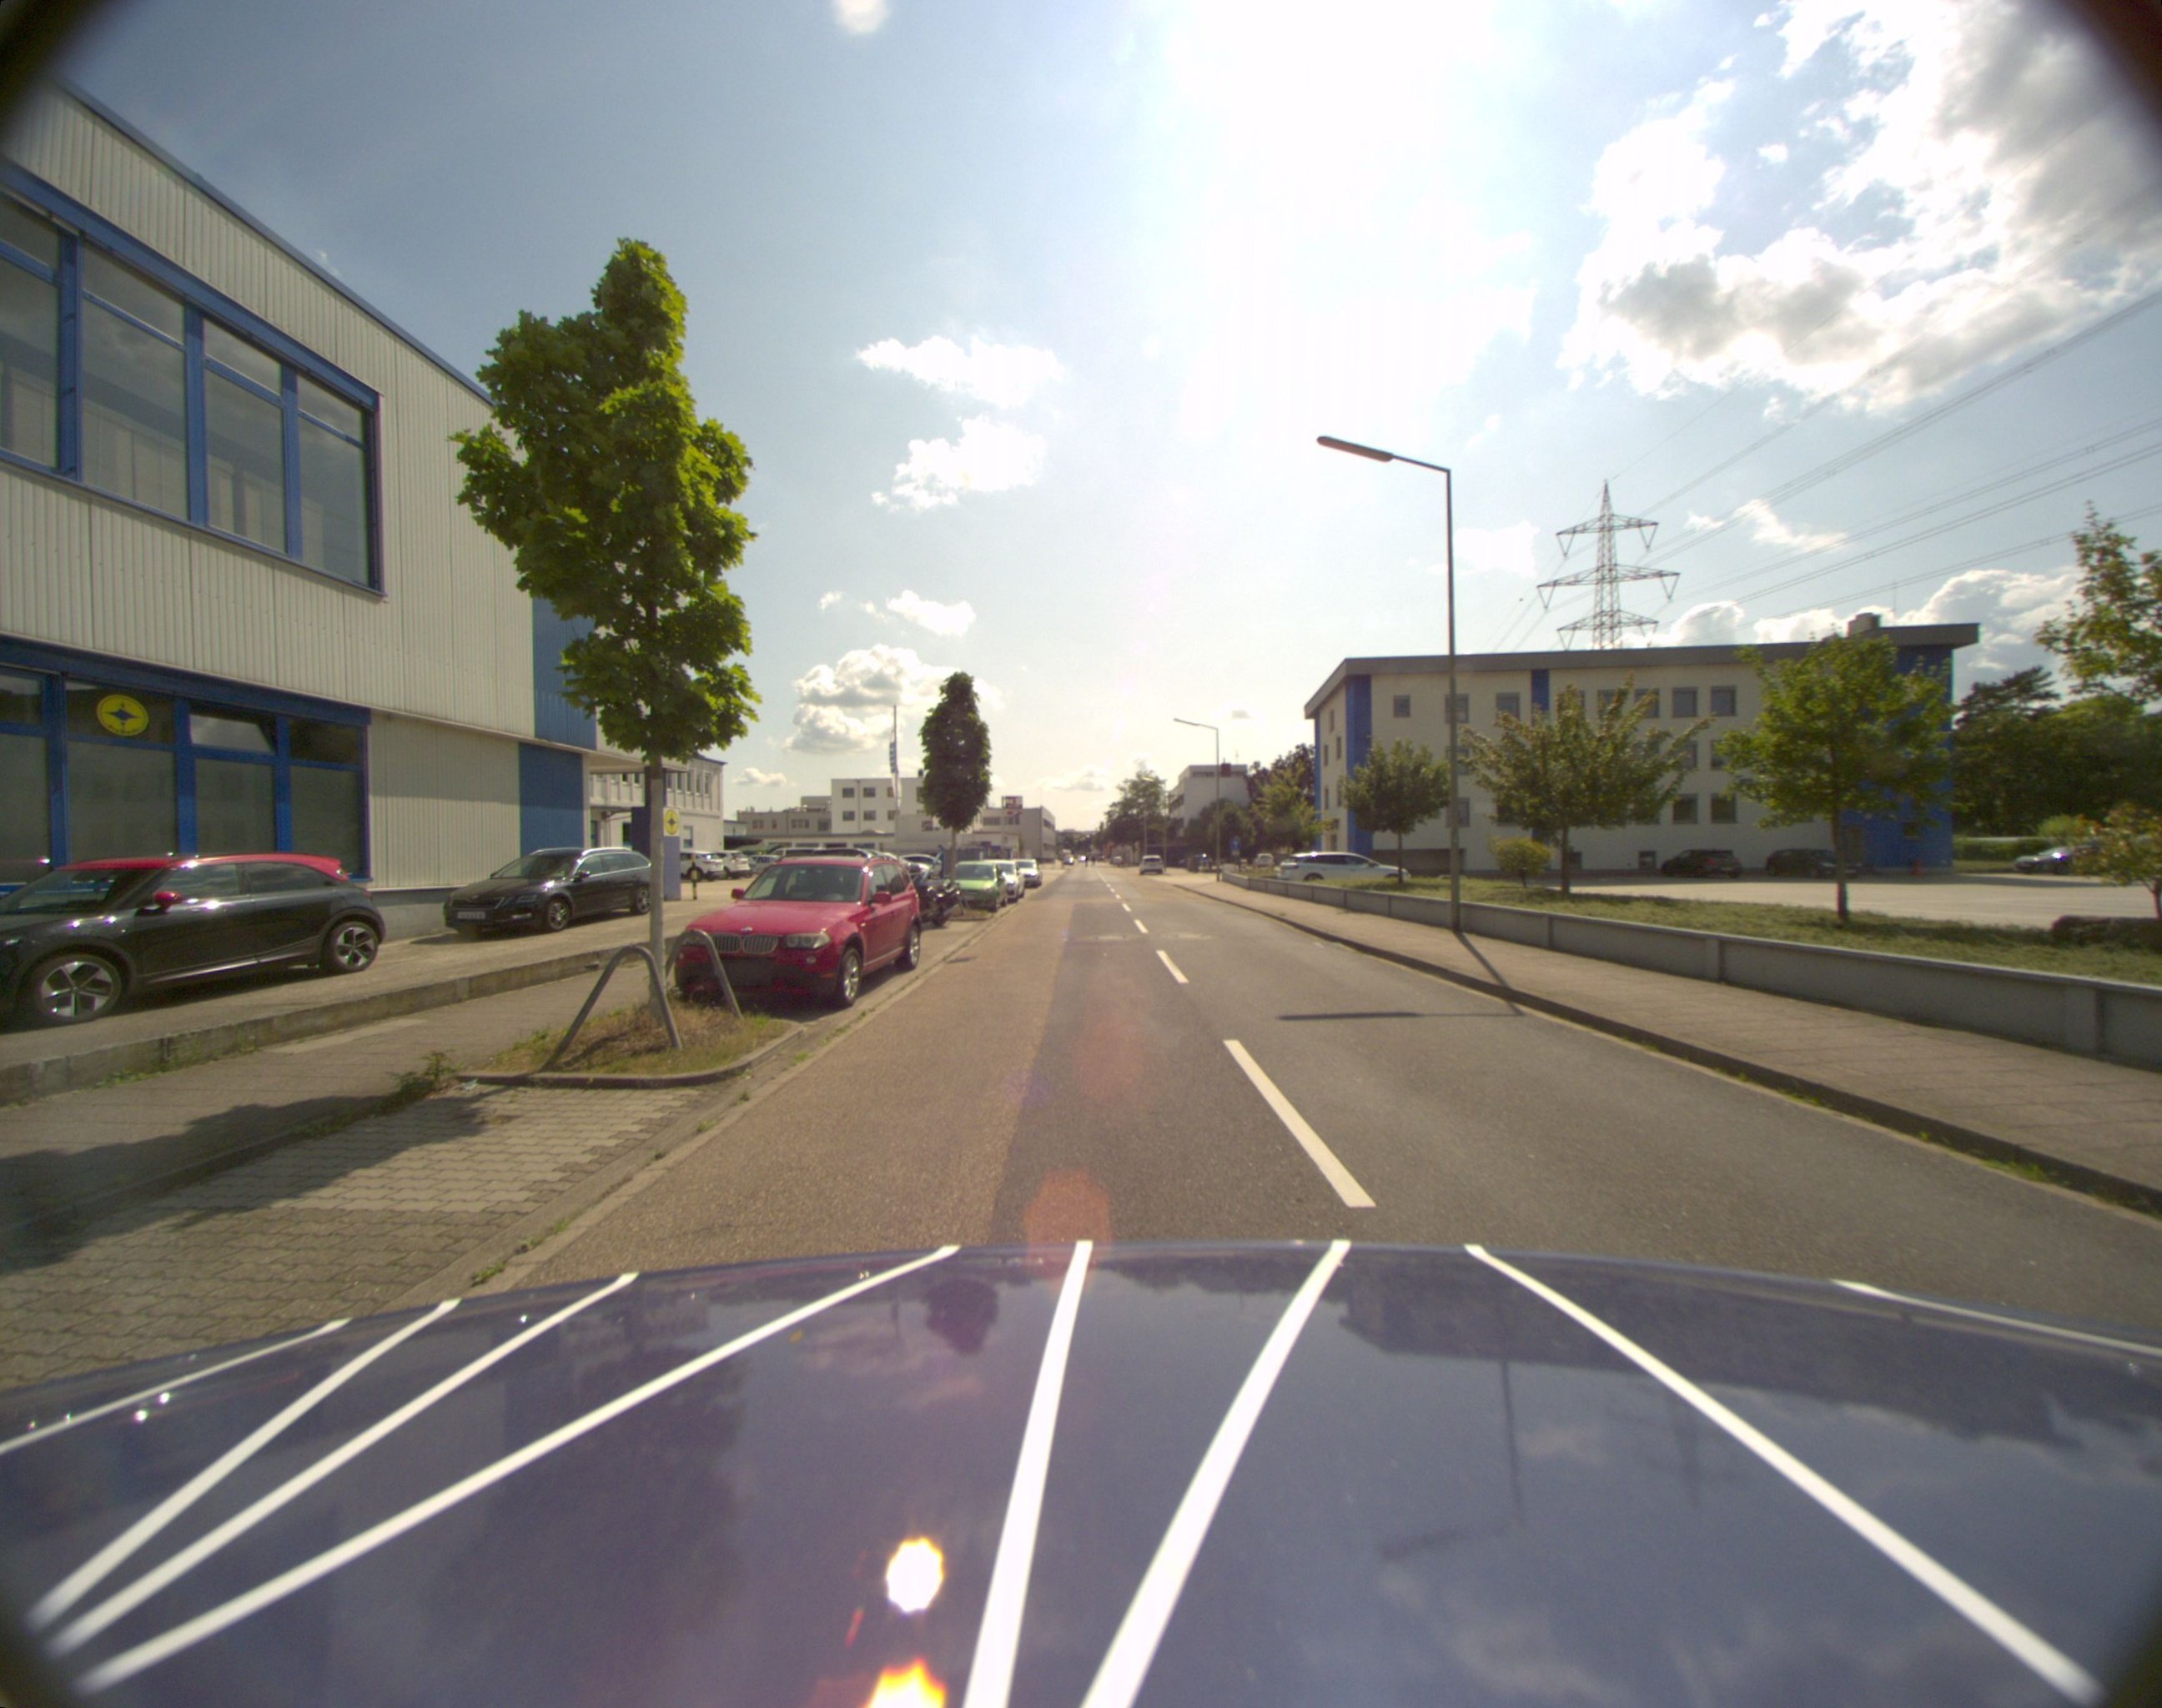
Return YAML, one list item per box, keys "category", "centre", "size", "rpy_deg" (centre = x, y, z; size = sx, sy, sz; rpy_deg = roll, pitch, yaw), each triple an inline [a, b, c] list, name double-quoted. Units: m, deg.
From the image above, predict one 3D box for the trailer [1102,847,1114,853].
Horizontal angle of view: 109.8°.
- category: "trailer"
  centre: [6.450, -0.924, 181.445]
  size: [2.457, 1.157, 6.051]
  rpy_deg: [-3, 1, 0]

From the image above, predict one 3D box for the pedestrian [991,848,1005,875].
- category: "pedestrian"
  centre: [-5.333, 0.485, 48.984]
  size: [0.771, 1.746, 0.787]
  rpy_deg: [1, 1, 0]

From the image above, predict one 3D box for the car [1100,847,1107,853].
- category: "car"
  centre: [5.903, -1.016, 200.292]
  size: [1.714, 1.459, 4.628]
  rpy_deg: [-4, 1, -1]

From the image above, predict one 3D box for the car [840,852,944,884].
- category: "car"
  centre: [-8.750, 0.644, 35.409]
  size: [4.289, 1.412, 2.000]
  rpy_deg: [0, 0, 1]

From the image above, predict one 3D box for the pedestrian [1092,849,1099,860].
- category: "pedestrian"
  centre: [2.195, 0.070, 115.404]
  size: [0.860, 1.797, 1.003]
  rpy_deg: [-1, 1, -22]

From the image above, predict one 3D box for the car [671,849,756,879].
- category: "car"
  centre: [-21.255, 0.550, 44.007]
  size: [3.997, 1.621, 1.806]
  rpy_deg: [-1, 1, 0]

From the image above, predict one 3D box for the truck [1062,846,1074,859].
- category: "truck"
  centre: [-3.347, -0.353, 199.497]
  size: [2.607, 3.207, 8.076]
  rpy_deg: [-4, 1, 0]

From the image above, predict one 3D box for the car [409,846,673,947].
- category: "car"
  centre: [-10.370, 0.703, 15.159]
  size: [1.832, 1.504, 4.638]
  rpy_deg: [-1, 3, 1]

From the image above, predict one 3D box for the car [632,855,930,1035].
- category: "car"
  centre: [-3.373, 0.891, 9.708]
  size: [1.759, 1.641, 4.677]
  rpy_deg: [-2, 1, 2]

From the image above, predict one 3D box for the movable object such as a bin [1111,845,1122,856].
- category: "movable object such as a bin"
  centre: [6.813, -0.629, 145.735]
  size: [1.618, 1.908, 5.137]
  rpy_deg: [-5, 0, 0]

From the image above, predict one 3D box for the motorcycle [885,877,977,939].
- category: "motorcycle"
  centre: [-3.285, 1.152, 16.906]
  size: [0.856, 1.193, 2.366]
  rpy_deg: [-1, 1, 21]

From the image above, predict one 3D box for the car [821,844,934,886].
- category: "car"
  centre: [-8.695, 0.451, 32.777]
  size: [4.237, 1.637, 2.147]
  rpy_deg: [-1, 1, -1]

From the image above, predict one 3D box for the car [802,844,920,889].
- category: "car"
  centre: [-8.704, 0.477, 30.313]
  size: [4.094, 1.676, 2.000]
  rpy_deg: [-1, 1, -1]

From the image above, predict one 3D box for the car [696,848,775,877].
- category: "car"
  centre: [-21.169, 0.500, 46.617]
  size: [3.997, 1.681, 1.806]
  rpy_deg: [-1, 1, 0]

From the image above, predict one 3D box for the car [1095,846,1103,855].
- category: "car"
  centre: [5.549, -1.101, 232.180]
  size: [2.079, 2.527, 5.822]
  rpy_deg: [-4, 1, -2]

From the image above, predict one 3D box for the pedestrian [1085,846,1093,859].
- category: "pedestrian"
  centre: [1.213, -0.165, 115.001]
  size: [0.994, 1.940, 1.089]
  rpy_deg: [-1, 1, -22]

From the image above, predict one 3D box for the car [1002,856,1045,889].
- category: "car"
  centre: [-3.028, 0.946, 40.957]
  size: [1.872, 1.512, 4.597]
  rpy_deg: [-2, 1, 0]

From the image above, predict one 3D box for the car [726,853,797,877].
- category: "car"
  centre: [-21.152, 0.702, 50.342]
  size: [3.891, 1.477, 1.864]
  rpy_deg: [1, 1, 4]

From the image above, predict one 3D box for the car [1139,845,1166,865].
- category: "car"
  centre: [6.326, 0.056, 67.553]
  size: [1.872, 1.698, 4.752]
  rpy_deg: [-2, 1, 0]

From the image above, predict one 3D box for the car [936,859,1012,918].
- category: "car"
  centre: [-3.169, 0.973, 23.170]
  size: [1.673, 1.512, 3.994]
  rpy_deg: [-2, 1, 1]

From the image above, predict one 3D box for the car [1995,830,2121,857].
- category: "car"
  centre: [48.631, -0.504, 37.893]
  size: [3.604, 1.244, 1.805]
  rpy_deg: [-1, 1, 9]

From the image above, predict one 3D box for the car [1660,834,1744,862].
- category: "car"
  centre: [32.119, -0.307, 39.435]
  size: [1.565, 1.368, 3.681]
  rpy_deg: [-1, 0, 5]

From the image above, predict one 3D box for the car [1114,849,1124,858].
- category: "car"
  centre: [6.920, -0.080, 139.403]
  size: [1.677, 1.447, 4.513]
  rpy_deg: [-3, 1, 1]

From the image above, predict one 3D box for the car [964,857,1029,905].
- category: "car"
  centre: [-3.064, 0.951, 28.413]
  size: [1.840, 1.512, 4.460]
  rpy_deg: [-2, 1, 0]

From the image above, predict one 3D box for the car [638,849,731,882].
- category: "car"
  centre: [-21.280, 0.589, 40.891]
  size: [3.997, 1.692, 1.934]
  rpy_deg: [-1, 1, 0]

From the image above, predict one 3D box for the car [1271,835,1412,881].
- category: "car"
  centre: [10.002, 0.148, 29.431]
  size: [4.766, 1.593, 2.000]
  rpy_deg: [-2, 1, 1]

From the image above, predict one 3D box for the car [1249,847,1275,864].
- category: "car"
  centre: [17.693, 0.122, 74.498]
  size: [1.828, 1.627, 4.846]
  rpy_deg: [0, 1, 6]

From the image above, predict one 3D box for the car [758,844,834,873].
- category: "car"
  centre: [-21.035, 0.319, 56.155]
  size: [4.690, 1.925, 2.276]
  rpy_deg: [-2, 1, 2]

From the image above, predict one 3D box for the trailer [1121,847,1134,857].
- category: "trailer"
  centre: [7.523, -0.383, 122.843]
  size: [1.771, 1.431, 4.335]
  rpy_deg: [-4, 1, 1]

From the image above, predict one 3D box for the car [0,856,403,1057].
- category: "car"
  centre: [-10.529, 0.934, 8.461]
  size: [1.998, 1.648, 4.289]
  rpy_deg: [-1, 2, 1]

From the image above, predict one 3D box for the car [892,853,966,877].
- category: "car"
  centre: [-9.021, 0.643, 45.353]
  size: [3.996, 1.412, 2.000]
  rpy_deg: [0, 0, 1]

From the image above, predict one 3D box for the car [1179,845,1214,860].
- category: "car"
  centre: [13.167, -0.165, 86.916]
  size: [3.657, 1.698, 1.878]
  rpy_deg: [-1, 1, 0]

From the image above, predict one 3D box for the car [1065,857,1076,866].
- category: "car"
  centre: [-1.921, 1.328, 137.388]
  size: [1.663, 1.549, 4.177]
  rpy_deg: [-4, 1, 1]

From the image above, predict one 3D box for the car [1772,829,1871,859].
- category: "car"
  centre: [37.007, -0.508, 38.076]
  size: [1.565, 1.368, 3.681]
  rpy_deg: [-1, 1, 5]
